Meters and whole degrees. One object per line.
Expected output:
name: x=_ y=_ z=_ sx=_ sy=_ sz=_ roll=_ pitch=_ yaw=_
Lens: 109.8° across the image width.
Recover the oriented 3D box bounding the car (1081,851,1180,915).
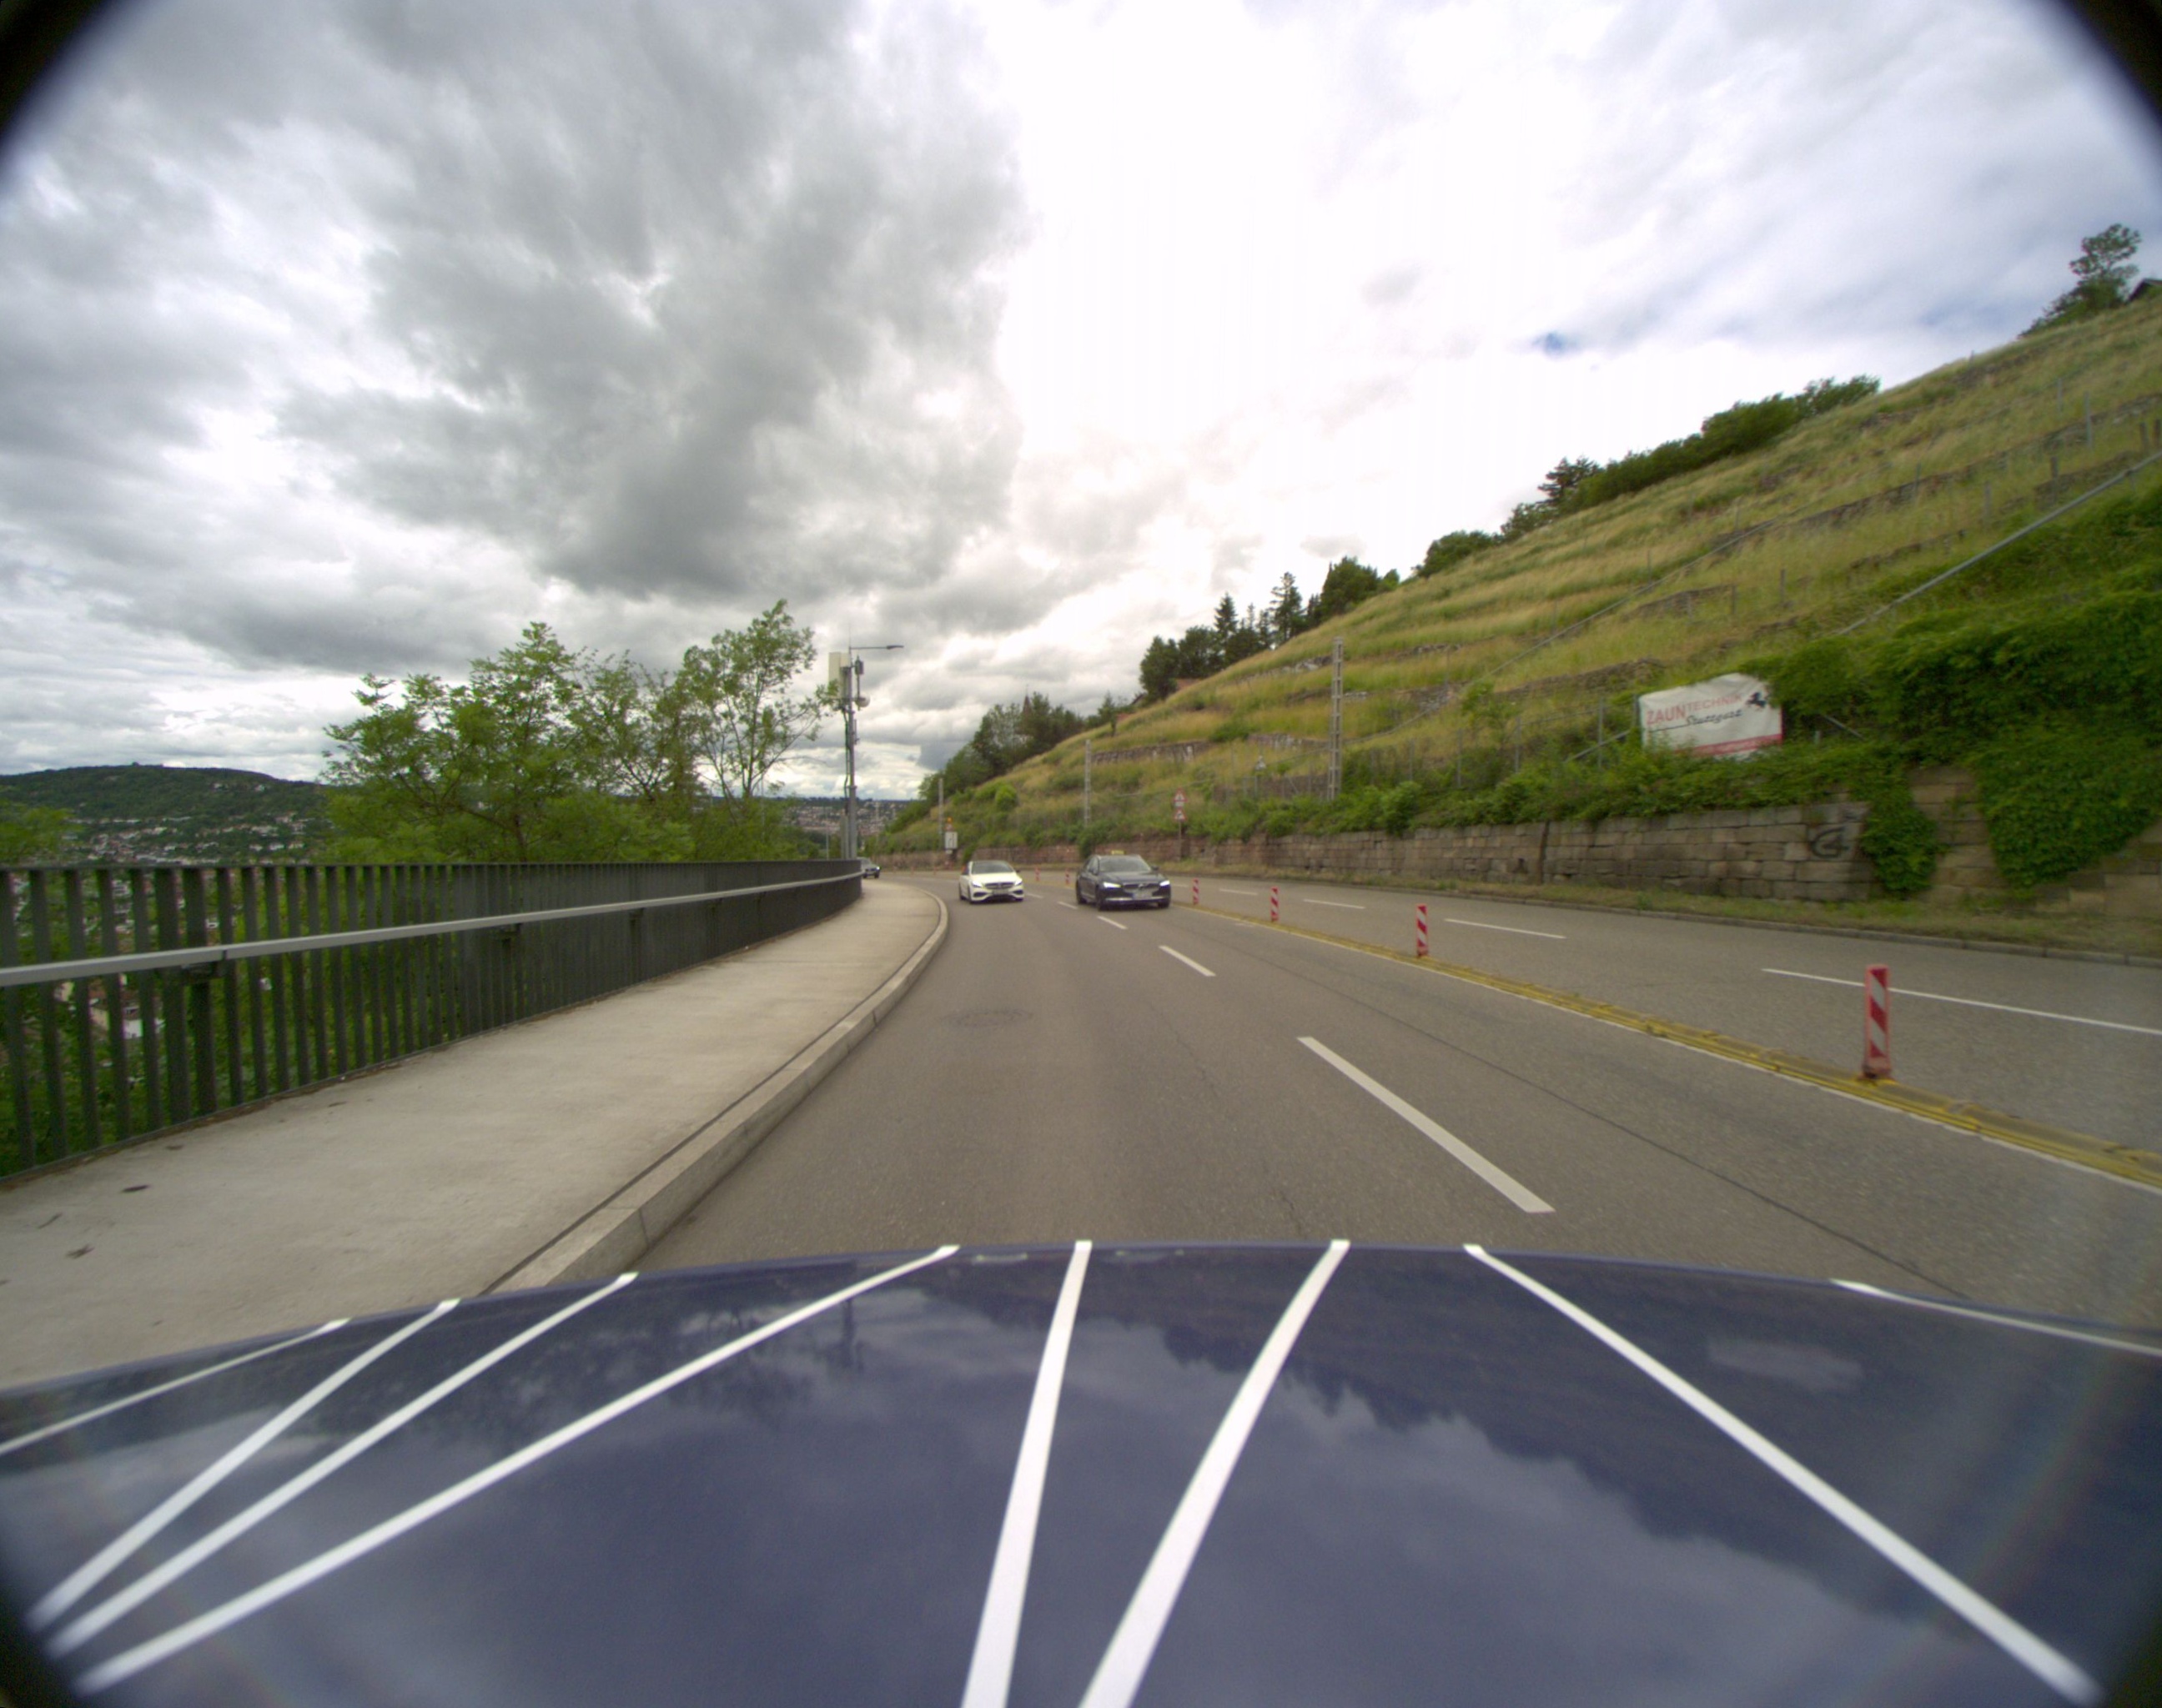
car: x=1.223 y=0.695 z=20.752 sx=1.902 sy=1.485 sz=4.138 roll=-2 pitch=1 yaw=-7

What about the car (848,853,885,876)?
car: x=-16.643 y=0.848 z=58.840 sx=2.002 sy=1.661 sz=4.529 roll=-2 pitch=-1 yaw=-25

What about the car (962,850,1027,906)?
car: x=-2.941 y=0.767 z=26.427 sx=1.999 sy=1.708 sz=3.998 roll=-3 pitch=0 yaw=-5
